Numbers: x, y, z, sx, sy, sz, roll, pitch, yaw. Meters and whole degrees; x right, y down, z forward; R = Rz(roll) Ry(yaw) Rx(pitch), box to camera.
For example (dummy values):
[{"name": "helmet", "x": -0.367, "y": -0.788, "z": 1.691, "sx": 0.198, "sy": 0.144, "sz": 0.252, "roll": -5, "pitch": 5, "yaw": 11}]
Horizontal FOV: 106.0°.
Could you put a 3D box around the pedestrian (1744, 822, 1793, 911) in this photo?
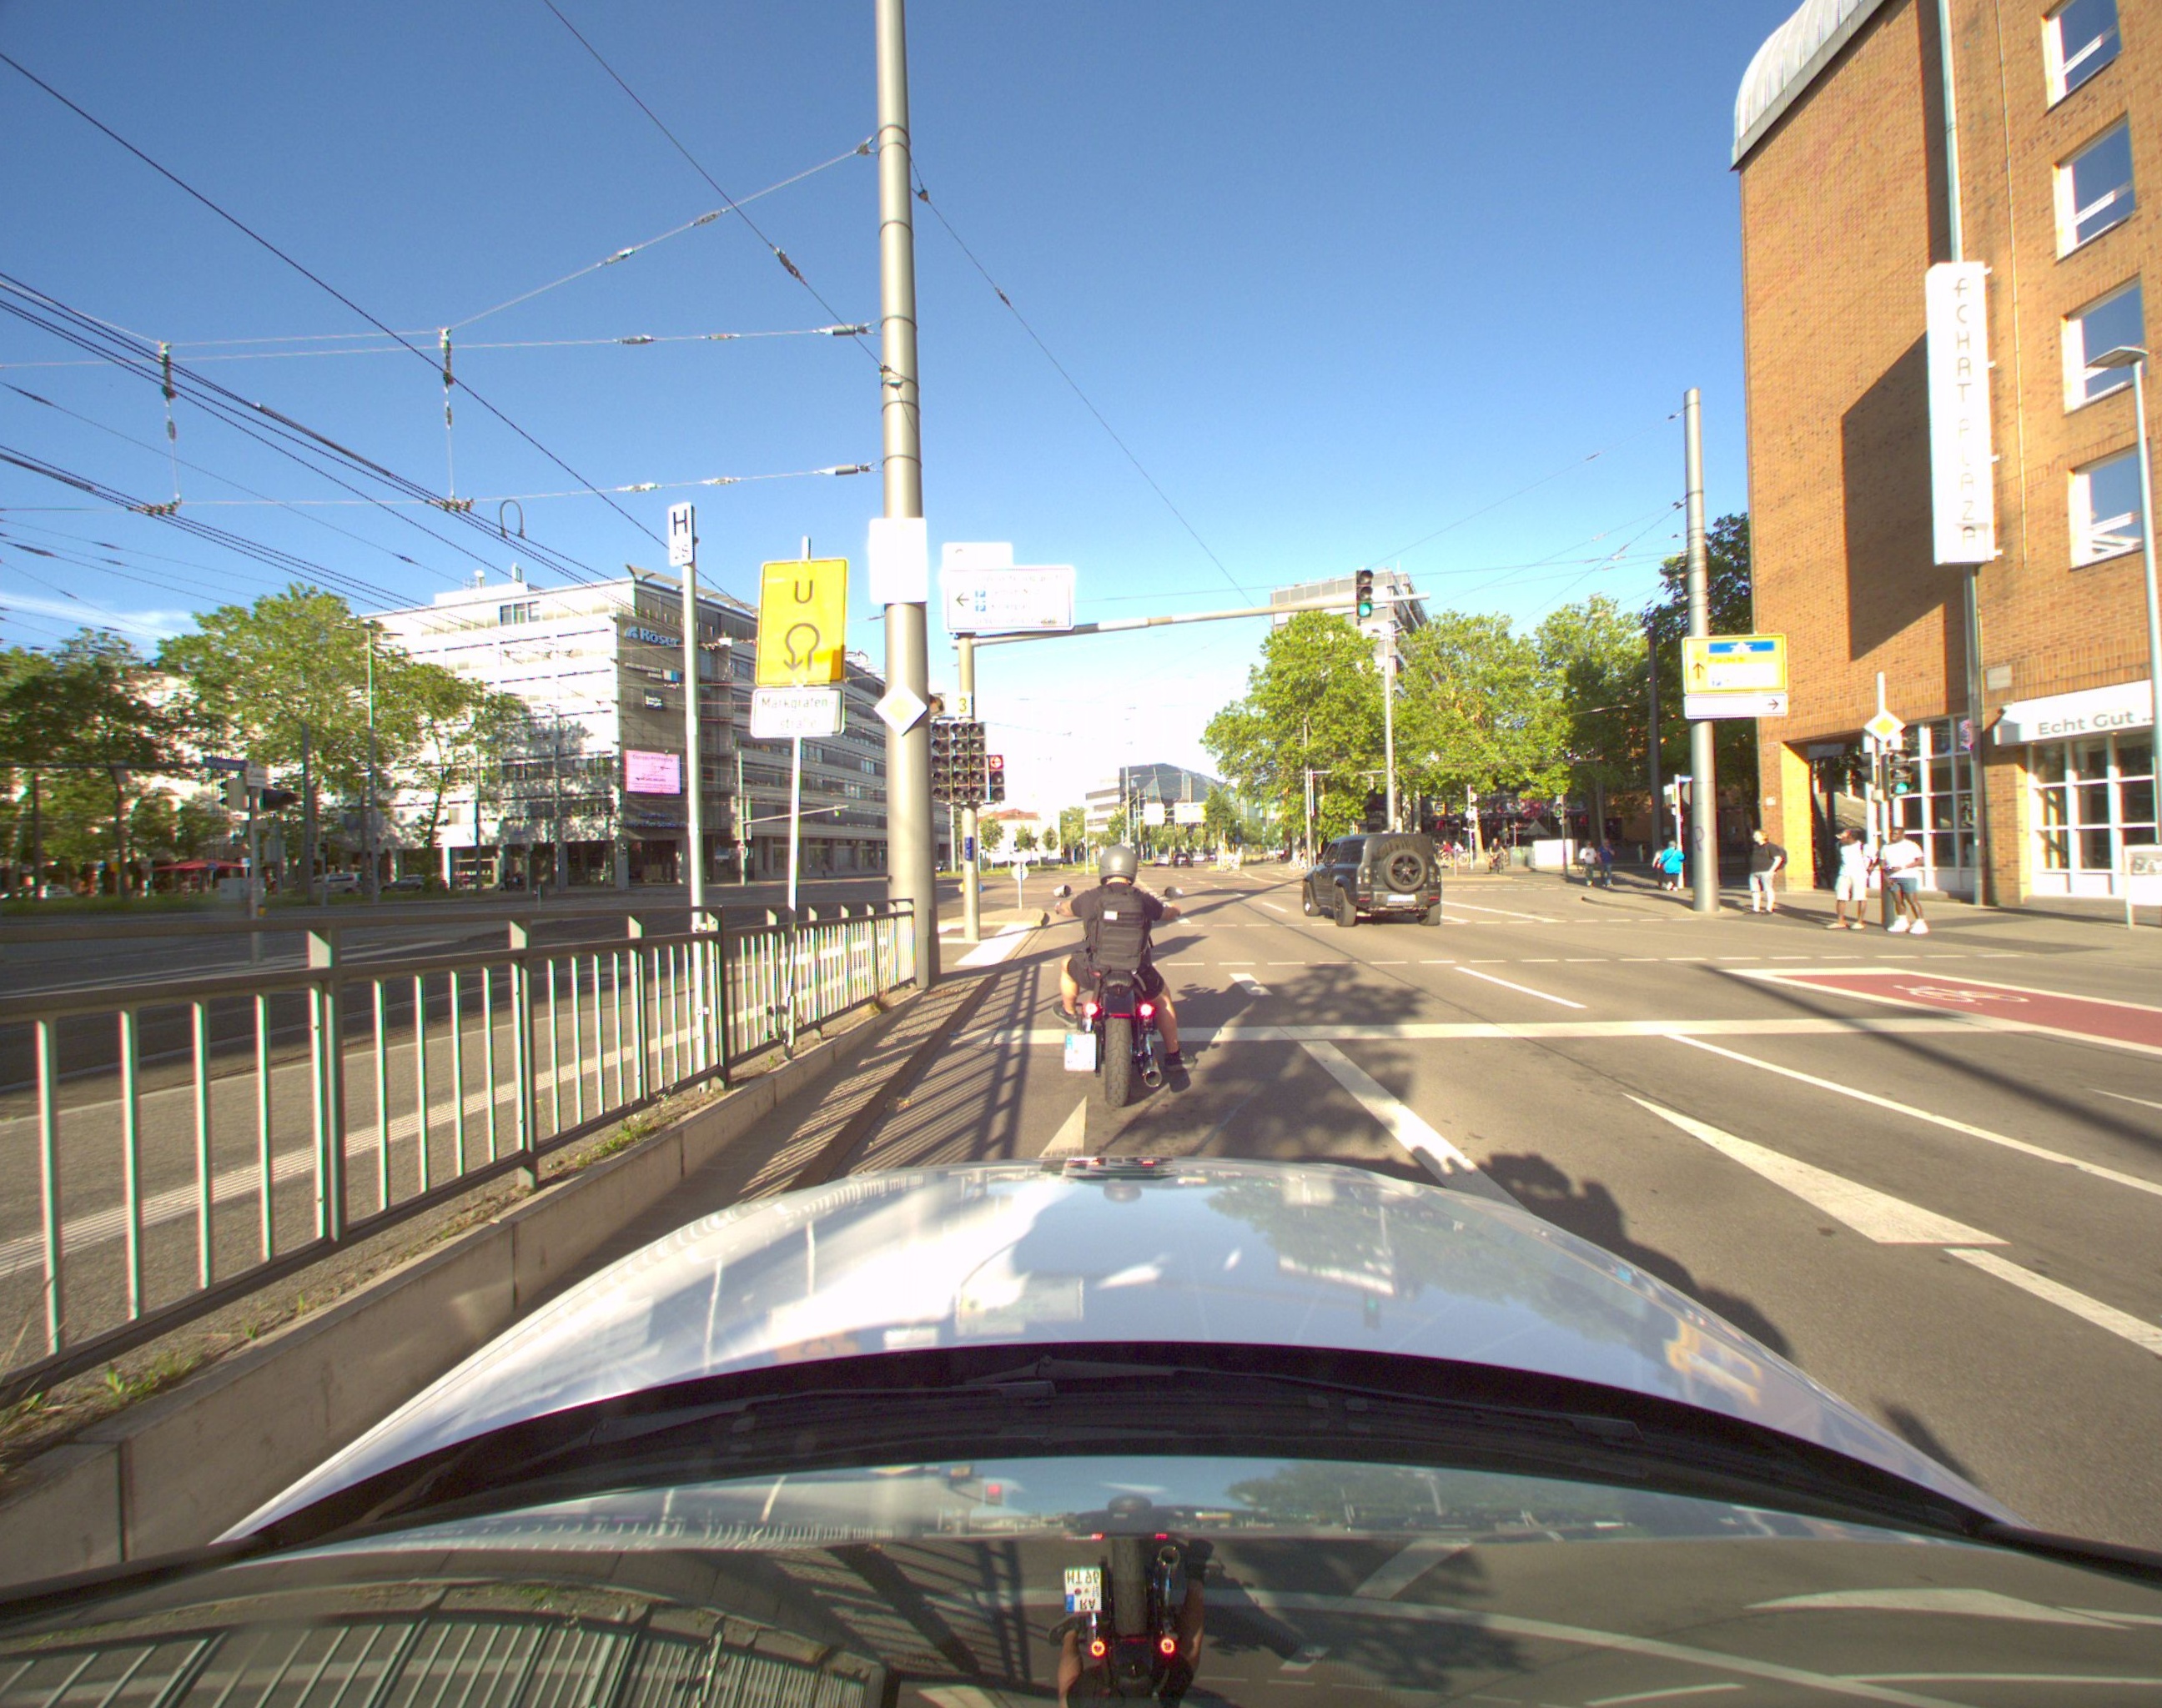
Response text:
[{"name": "pedestrian", "x": 14.257, "y": 0.263, "z": 16.888, "sx": 0.727, "sy": 1.792, "sz": 0.515, "roll": -1, "pitch": -1, "yaw": 42}]

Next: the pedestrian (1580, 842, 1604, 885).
[{"name": "pedestrian", "x": 18.083, "y": 0.338, "z": 28.829, "sx": 0.561, "sy": 1.532, "sz": 0.706, "roll": -1, "pitch": -1, "yaw": 21}]

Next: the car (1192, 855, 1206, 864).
[{"name": "car", "x": 20.152, "y": 0.868, "z": 138.730, "sx": 1.790, "sy": 1.430, "sz": 4.470, "roll": -2, "pitch": 0, "yaw": 14}]

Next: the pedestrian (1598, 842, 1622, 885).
[{"name": "pedestrian", "x": 18.653, "y": 0.332, "z": 28.730, "sx": 0.561, "sy": 1.479, "sz": 0.706, "roll": -1, "pitch": -1, "yaw": 22}]

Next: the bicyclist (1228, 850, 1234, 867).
[{"name": "bicyclist", "x": 12.324, "y": 0.391, "z": 66.962, "sx": 0.380, "sy": 1.373, "sz": 0.344, "roll": 0, "pitch": -1, "yaw": -4}]

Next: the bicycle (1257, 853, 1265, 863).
[{"name": "bicycle", "x": 23.785, "y": 0.557, "z": 107.734, "sx": 0.722, "sy": 1.367, "sz": 2.922, "roll": 0, "pitch": -1, "yaw": 6}]

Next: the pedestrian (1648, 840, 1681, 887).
[{"name": "pedestrian", "x": 18.495, "y": 0.303, "z": 25.810, "sx": 0.590, "sy": 1.476, "sz": 0.552, "roll": -2, "pitch": -1, "yaw": 2}]

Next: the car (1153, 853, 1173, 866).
[{"name": "car", "x": 9.797, "y": 0.603, "z": 97.340, "sx": 1.791, "sy": 1.430, "sz": 4.468, "roll": -2, "pitch": 0, "yaw": 12}]

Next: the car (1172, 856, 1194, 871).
[{"name": "car", "x": 11.357, "y": 1.021, "z": 90.598, "sx": 1.789, "sy": 1.595, "sz": 4.472, "roll": -2, "pitch": 0, "yaw": 16}]

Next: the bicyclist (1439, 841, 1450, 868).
[{"name": "bicyclist", "x": 25.077, "y": 0.041, "z": 56.173, "sx": 0.582, "sy": 1.837, "sz": 0.403, "roll": 0, "pitch": -1, "yaw": 1}]

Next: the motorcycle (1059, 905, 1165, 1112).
[{"name": "motorcycle", "x": 0.212, "y": 0.954, "z": 5.772, "sx": 0.598, "sy": 1.036, "sz": 2.235, "roll": 0, "pitch": 0, "yaw": 2}]

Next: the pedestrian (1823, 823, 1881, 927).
[{"name": "pedestrian", "x": 13.591, "y": 0.373, "z": 14.375, "sx": 0.586, "sy": 1.780, "sz": 0.686, "roll": -3, "pitch": -1, "yaw": 35}]

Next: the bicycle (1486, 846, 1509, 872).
[{"name": "bicycle", "x": 19.418, "y": 0.245, "z": 38.010, "sx": 0.562, "sy": 1.178, "sz": 2.340, "roll": -1, "pitch": -1, "yaw": 17}]

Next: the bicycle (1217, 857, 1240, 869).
[{"name": "bicycle", "x": 12.107, "y": 0.752, "z": 66.928, "sx": 1.822, "sy": 0.925, "sz": 0.357, "roll": 0, "pitch": -1, "yaw": -5}]

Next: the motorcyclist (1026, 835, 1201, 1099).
[{"name": "motorcyclist", "x": 0.211, "y": 0.693, "z": 5.423, "sx": 1.027, "sy": 1.593, "sz": 0.874, "roll": -2, "pitch": 0, "yaw": 1}]

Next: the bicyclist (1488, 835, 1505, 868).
[{"name": "bicyclist", "x": 19.418, "y": -0.099, "z": 38.048, "sx": 0.561, "sy": 1.519, "sz": 0.636, "roll": -1, "pitch": -1, "yaw": 17}]

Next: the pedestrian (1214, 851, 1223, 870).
[{"name": "pedestrian", "x": 11.691, "y": 0.547, "z": 69.224, "sx": 0.587, "sy": 1.557, "sz": 0.488, "roll": 0, "pitch": -1, "yaw": -6}]

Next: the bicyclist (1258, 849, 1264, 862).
[{"name": "bicyclist", "x": 23.733, "y": 0.210, "z": 107.368, "sx": 0.693, "sy": 1.808, "sz": 0.730, "roll": 0, "pitch": -1, "yaw": 6}]

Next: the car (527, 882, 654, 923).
[{"name": "car", "x": -13.852, "y": 1.358, "z": 23.140, "sx": 2.884, "sy": 1.063, "sz": 1.235, "roll": 0, "pitch": -1, "yaw": -19}]

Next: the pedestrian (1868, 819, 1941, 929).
[{"name": "pedestrian", "x": 13.771, "y": 0.326, "z": 13.621, "sx": 0.682, "sy": 1.780, "sz": 0.589, "roll": -2, "pitch": -1, "yaw": -24}]

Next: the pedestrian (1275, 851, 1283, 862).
[{"name": "pedestrian", "x": 21.986, "y": 0.279, "z": 90.401, "sx": 0.814, "sy": 1.314, "sz": 0.640, "roll": -1, "pitch": -1, "yaw": 11}]

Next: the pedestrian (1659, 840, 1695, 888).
[{"name": "pedestrian", "x": 18.306, "y": 0.301, "z": 25.012, "sx": 0.590, "sy": 1.452, "sz": 0.601, "roll": -2, "pitch": -1, "yaw": 2}]

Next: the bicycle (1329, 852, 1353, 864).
[{"name": "bicycle", "x": 21.408, "y": 0.328, "z": 66.970, "sx": 1.874, "sy": 1.046, "sz": 0.360, "roll": 0, "pitch": -1, "yaw": 1}]

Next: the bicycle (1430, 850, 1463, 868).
[{"name": "bicycle", "x": 25.208, "y": 0.348, "z": 56.164, "sx": 2.034, "sy": 1.214, "sz": 0.421, "roll": 0, "pitch": -1, "yaw": 2}]

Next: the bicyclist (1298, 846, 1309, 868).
[{"name": "bicyclist", "x": 17.732, "y": 0.241, "z": 64.915, "sx": 0.682, "sy": 1.673, "sz": 0.544, "roll": -2, "pitch": -2, "yaw": 21}]

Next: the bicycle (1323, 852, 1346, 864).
[{"name": "bicycle", "x": 21.524, "y": 0.348, "z": 69.144, "sx": 1.874, "sy": 1.046, "sz": 0.360, "roll": 0, "pitch": 0, "yaw": 1}]

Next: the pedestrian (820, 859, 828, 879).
[{"name": "pedestrian", "x": -26.623, "y": 1.534, "z": 84.375, "sx": 0.628, "sy": 2.014, "sz": 0.754, "roll": 0, "pitch": -1, "yaw": 2}]

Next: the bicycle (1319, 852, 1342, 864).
[{"name": "bicycle", "x": 21.498, "y": 0.354, "z": 70.296, "sx": 1.874, "sy": 1.046, "sz": 0.360, "roll": 0, "pitch": 0, "yaw": 1}]

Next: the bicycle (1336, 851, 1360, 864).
[{"name": "bicycle", "x": 21.428, "y": 0.283, "z": 65.374, "sx": 1.874, "sy": 1.046, "sz": 0.360, "roll": 0, "pitch": -1, "yaw": 1}]

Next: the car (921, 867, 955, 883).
[{"name": "car", "x": -13.861, "y": 1.996, "z": 79.163, "sx": 1.737, "sy": 1.524, "sz": 4.014, "roll": -1, "pitch": -1, "yaw": 13}]

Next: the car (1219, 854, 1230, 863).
[{"name": "car", "x": 27.390, "y": 0.880, "z": 155.757, "sx": 1.717, "sy": 1.838, "sz": 3.589, "roll": -1, "pitch": -1, "yaw": 14}]

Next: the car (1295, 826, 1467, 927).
[{"name": "car", "x": 6.289, "y": 0.441, "z": 17.721, "sx": 2.151, "sy": 1.915, "sz": 4.473, "roll": 0, "pitch": 0, "yaw": 1}]

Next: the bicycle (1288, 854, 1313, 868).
[{"name": "bicycle", "x": 17.527, "y": 0.564, "z": 64.984, "sx": 1.854, "sy": 1.044, "sz": 0.540, "roll": -1, "pitch": -1, "yaw": 20}]

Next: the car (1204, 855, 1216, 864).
[{"name": "car", "x": 23.456, "y": 0.987, "z": 147.540, "sx": 1.790, "sy": 1.678, "sz": 4.055, "roll": 0, "pitch": -1, "yaw": 14}]
